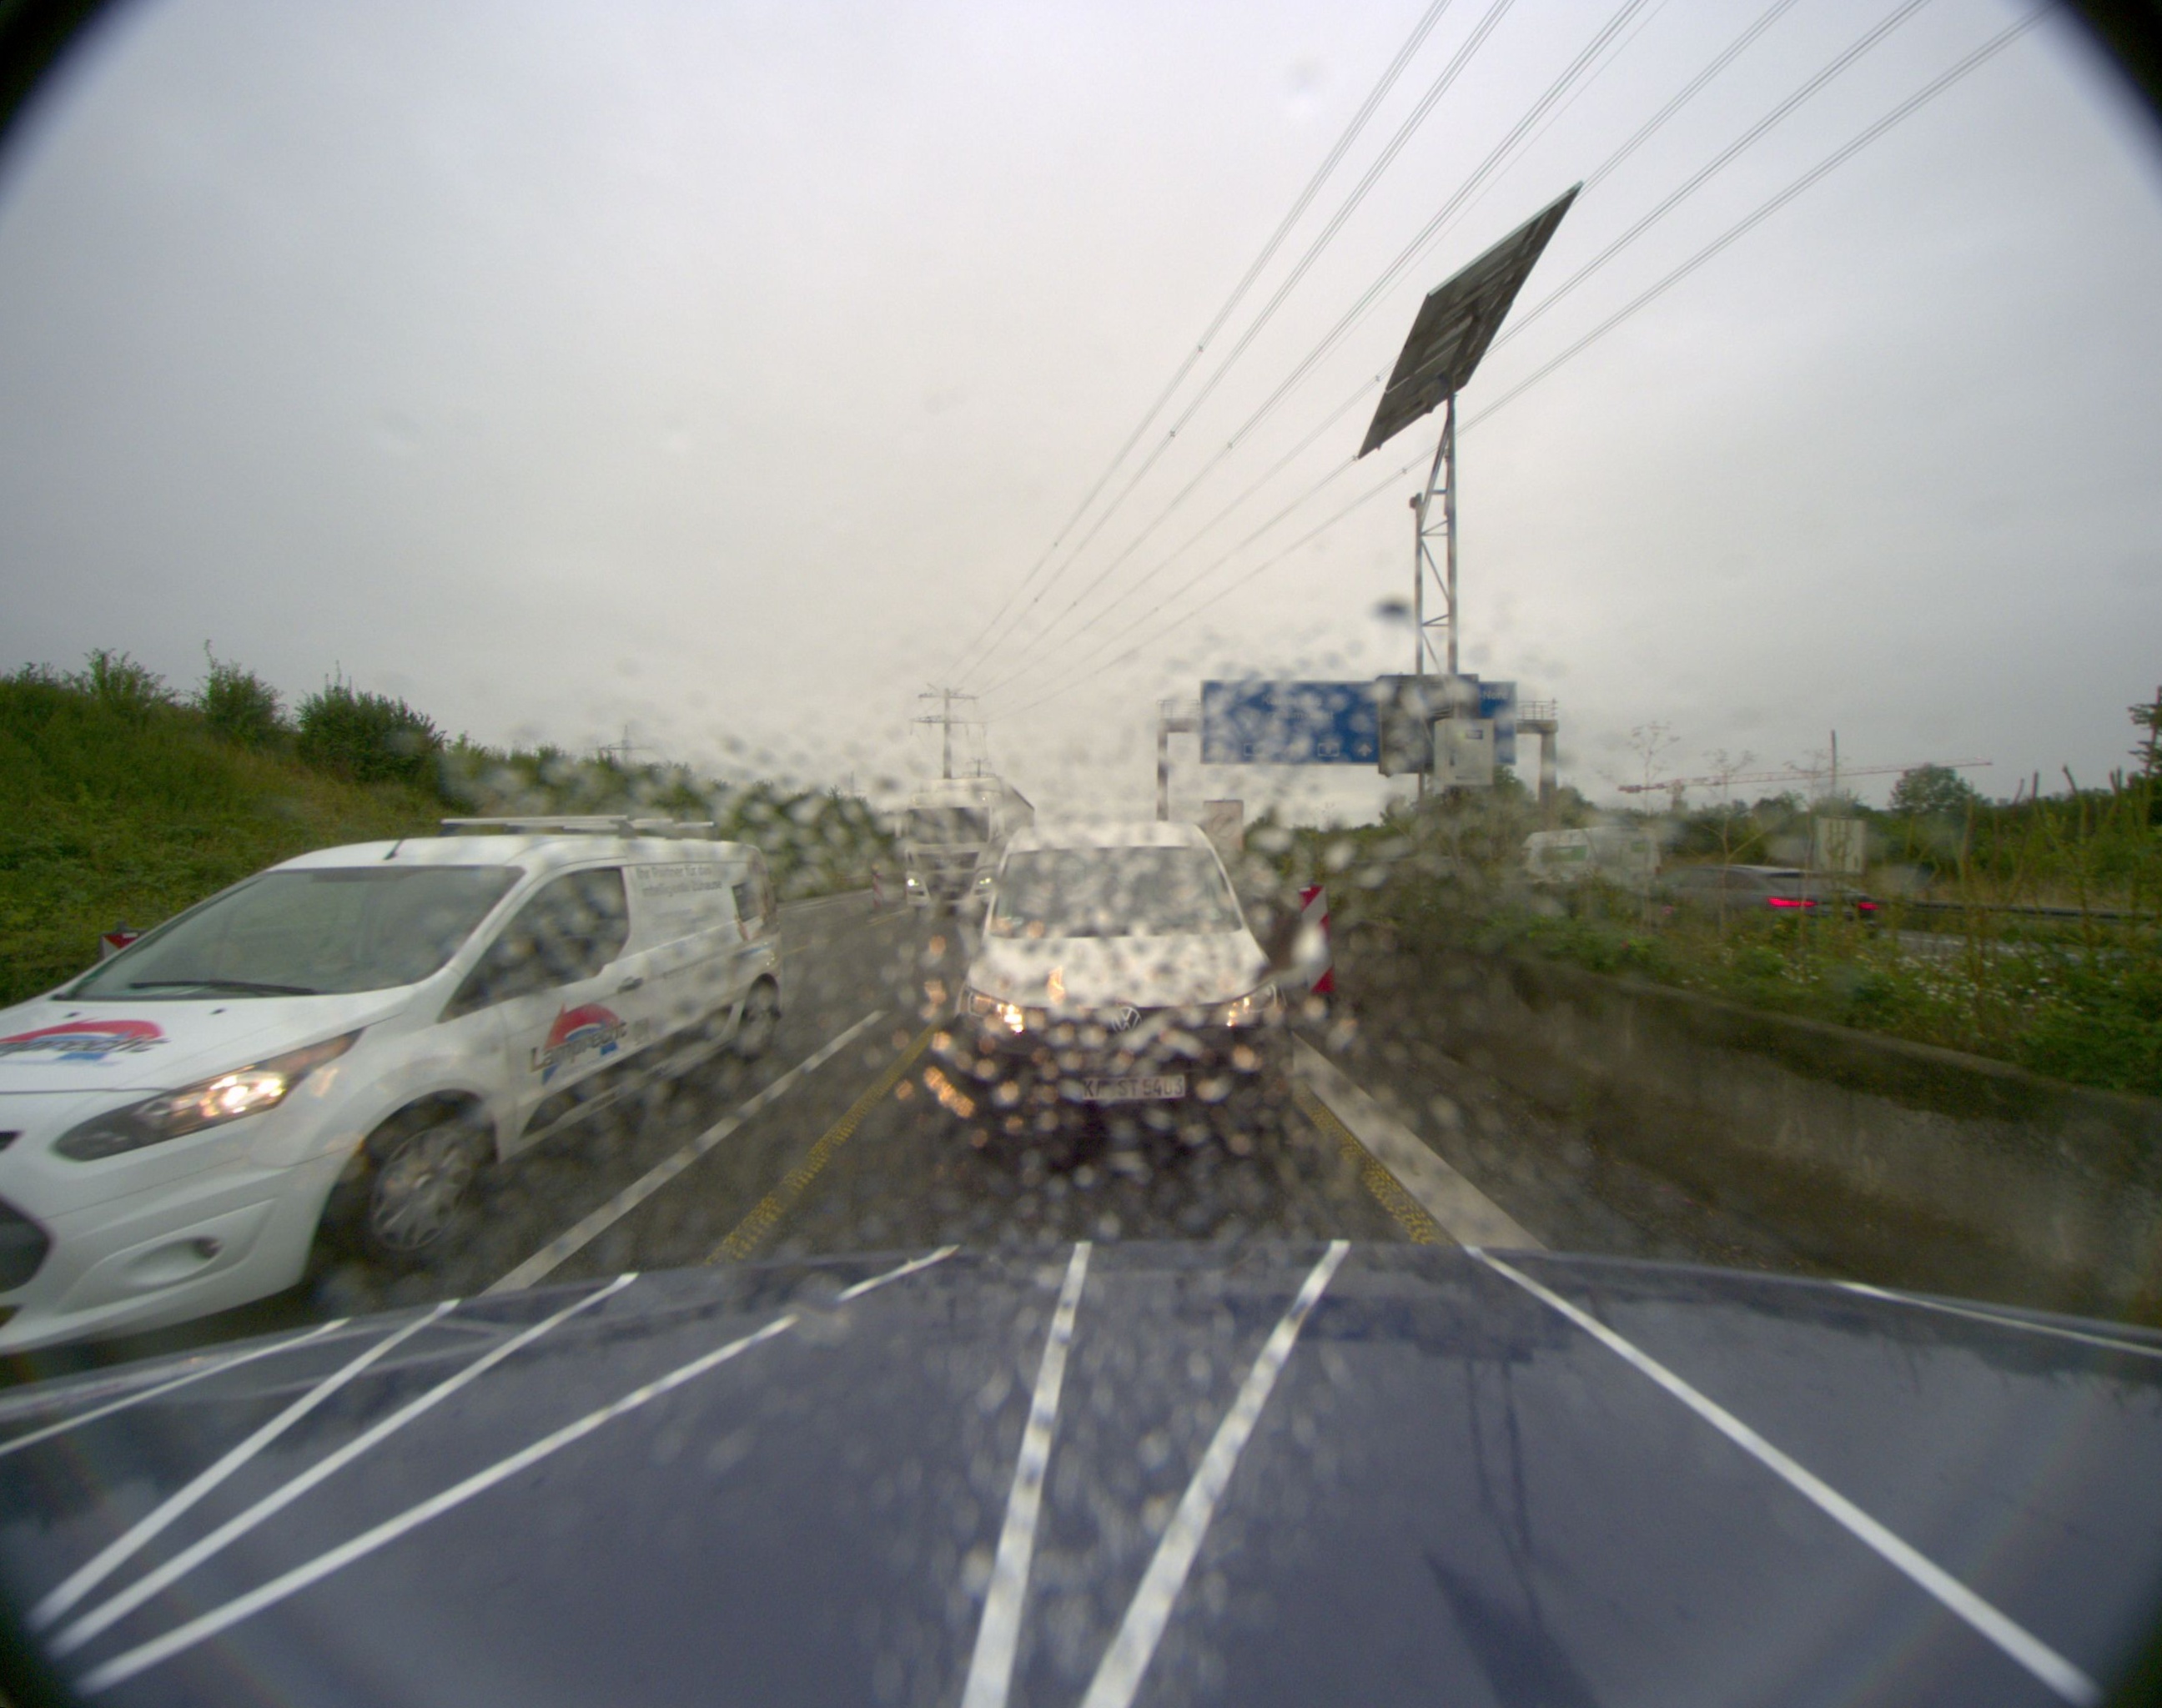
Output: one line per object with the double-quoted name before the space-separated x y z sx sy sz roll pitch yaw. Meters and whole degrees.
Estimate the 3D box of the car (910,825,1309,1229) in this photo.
"car" 0.161 0.786 5.630 1.768 1.803 4.345 -1 0 1

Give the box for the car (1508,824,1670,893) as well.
"car" 16.579 0.134 25.188 1.998 2.002 5.059 -1 0 1

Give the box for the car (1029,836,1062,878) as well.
"car" -2.434 0.187 53.226 1.998 2.766 5.756 -1 0 0

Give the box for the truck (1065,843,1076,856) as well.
"truck" -3.251 -1.465 238.607 2.875 4.007 8.309 -1 0 1

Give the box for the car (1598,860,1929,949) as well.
"car" 12.188 0.801 14.134 1.998 1.274 4.666 -1 0 1

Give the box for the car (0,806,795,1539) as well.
"car" -3.442 0.814 4.224 1.834 1.829 4.655 -2 0 1

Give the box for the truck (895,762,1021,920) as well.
"truck" -3.481 -0.344 22.999 2.713 4.114 5.690 -1 0 1

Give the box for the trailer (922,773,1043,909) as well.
"trailer" -3.374 -0.428 30.239 2.713 4.122 13.731 -1 0 1
